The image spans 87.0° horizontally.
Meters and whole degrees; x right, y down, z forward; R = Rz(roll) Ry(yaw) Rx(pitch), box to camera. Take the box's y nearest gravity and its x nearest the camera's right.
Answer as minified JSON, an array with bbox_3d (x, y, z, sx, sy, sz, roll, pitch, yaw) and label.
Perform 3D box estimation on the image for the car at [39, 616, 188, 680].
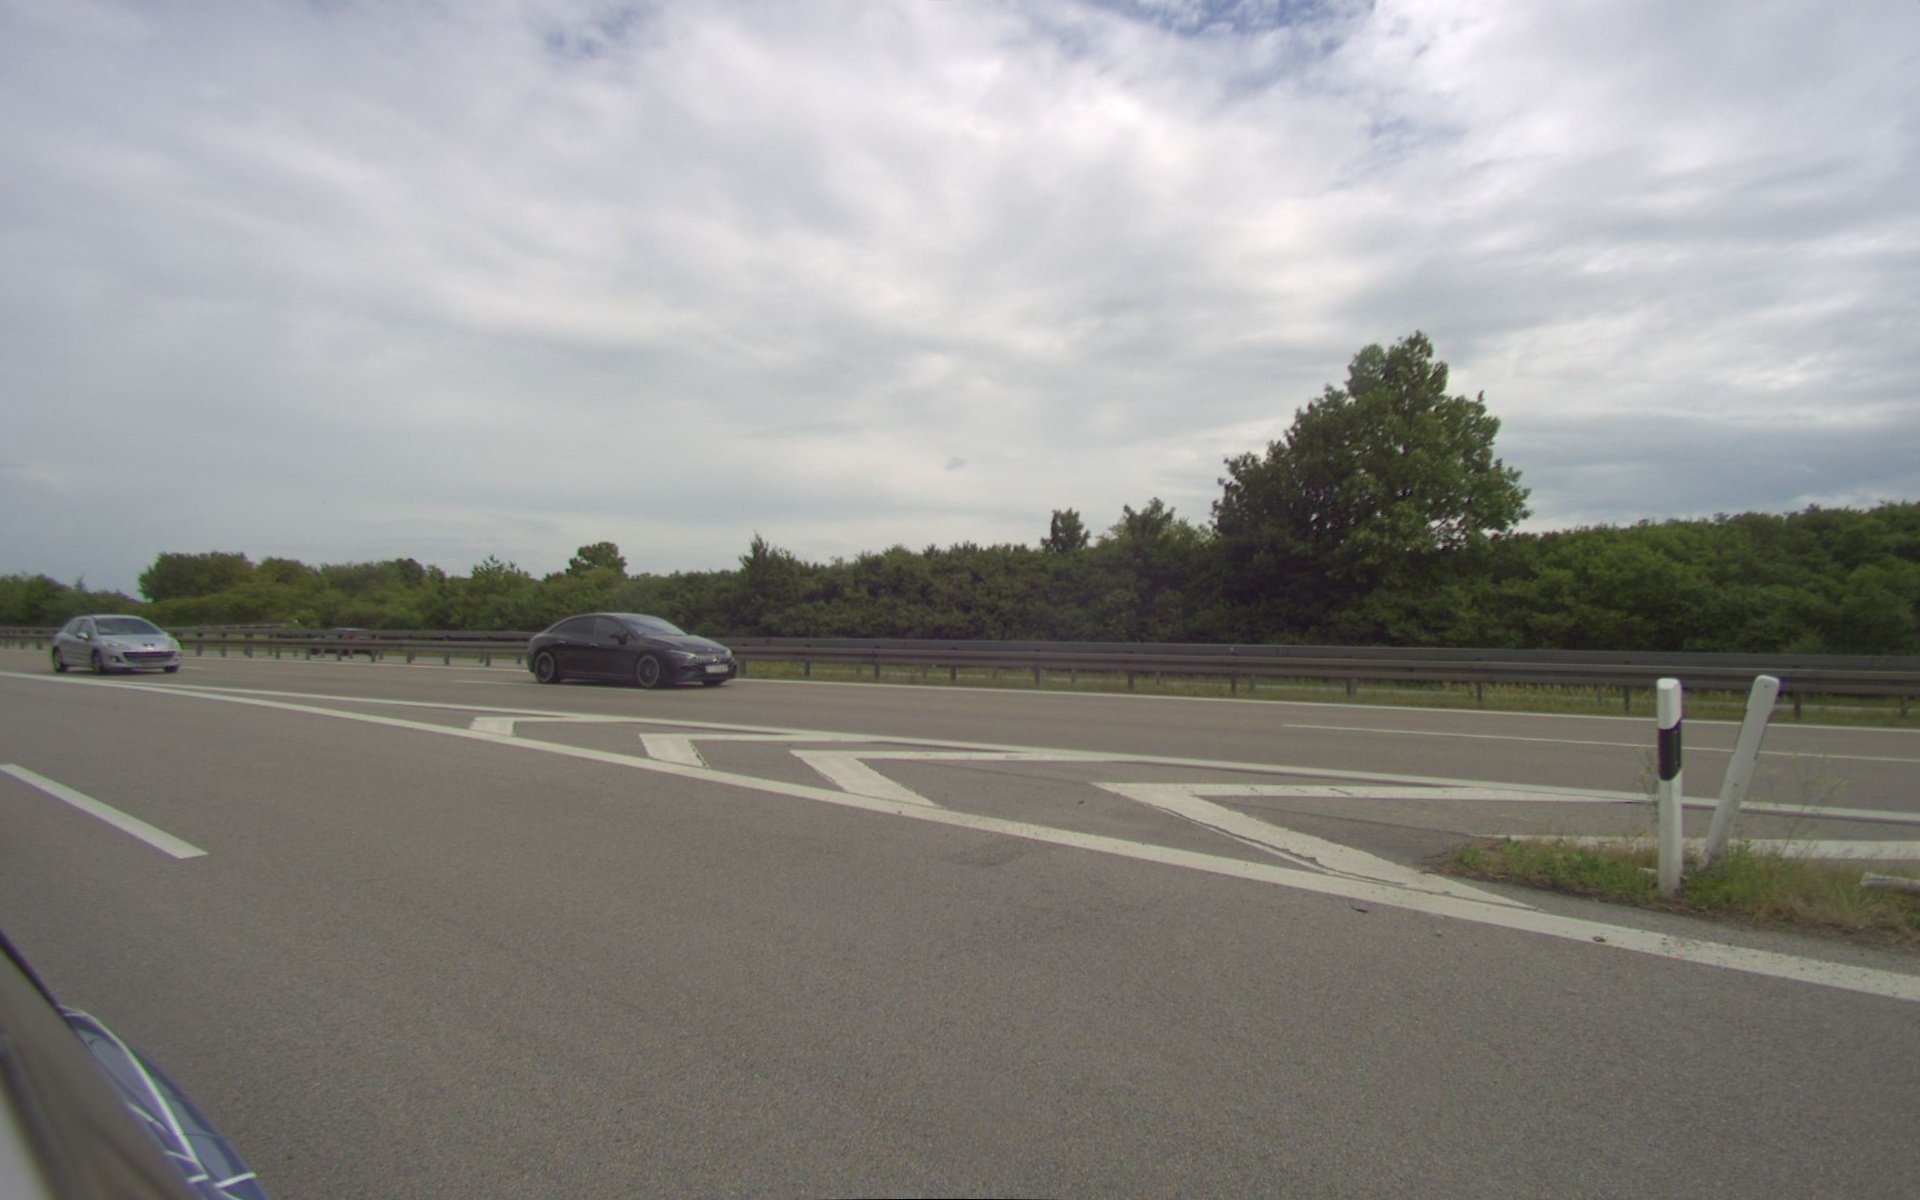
[{"bbox_3d":[-21.709,1.185,25.940,3.985,1.530,1.705,-1,-2,31],"label":"car"}]

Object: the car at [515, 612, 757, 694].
[{"bbox_3d":[-6.659,1.030,20.721,4.756,1.521,1.981,-1,-2,28],"label":"car"}]

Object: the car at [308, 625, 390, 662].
[{"bbox_3d":[-31.132,2.176,51.549,3.985,1.816,1.979,-1,-2,31],"label":"car"}]
